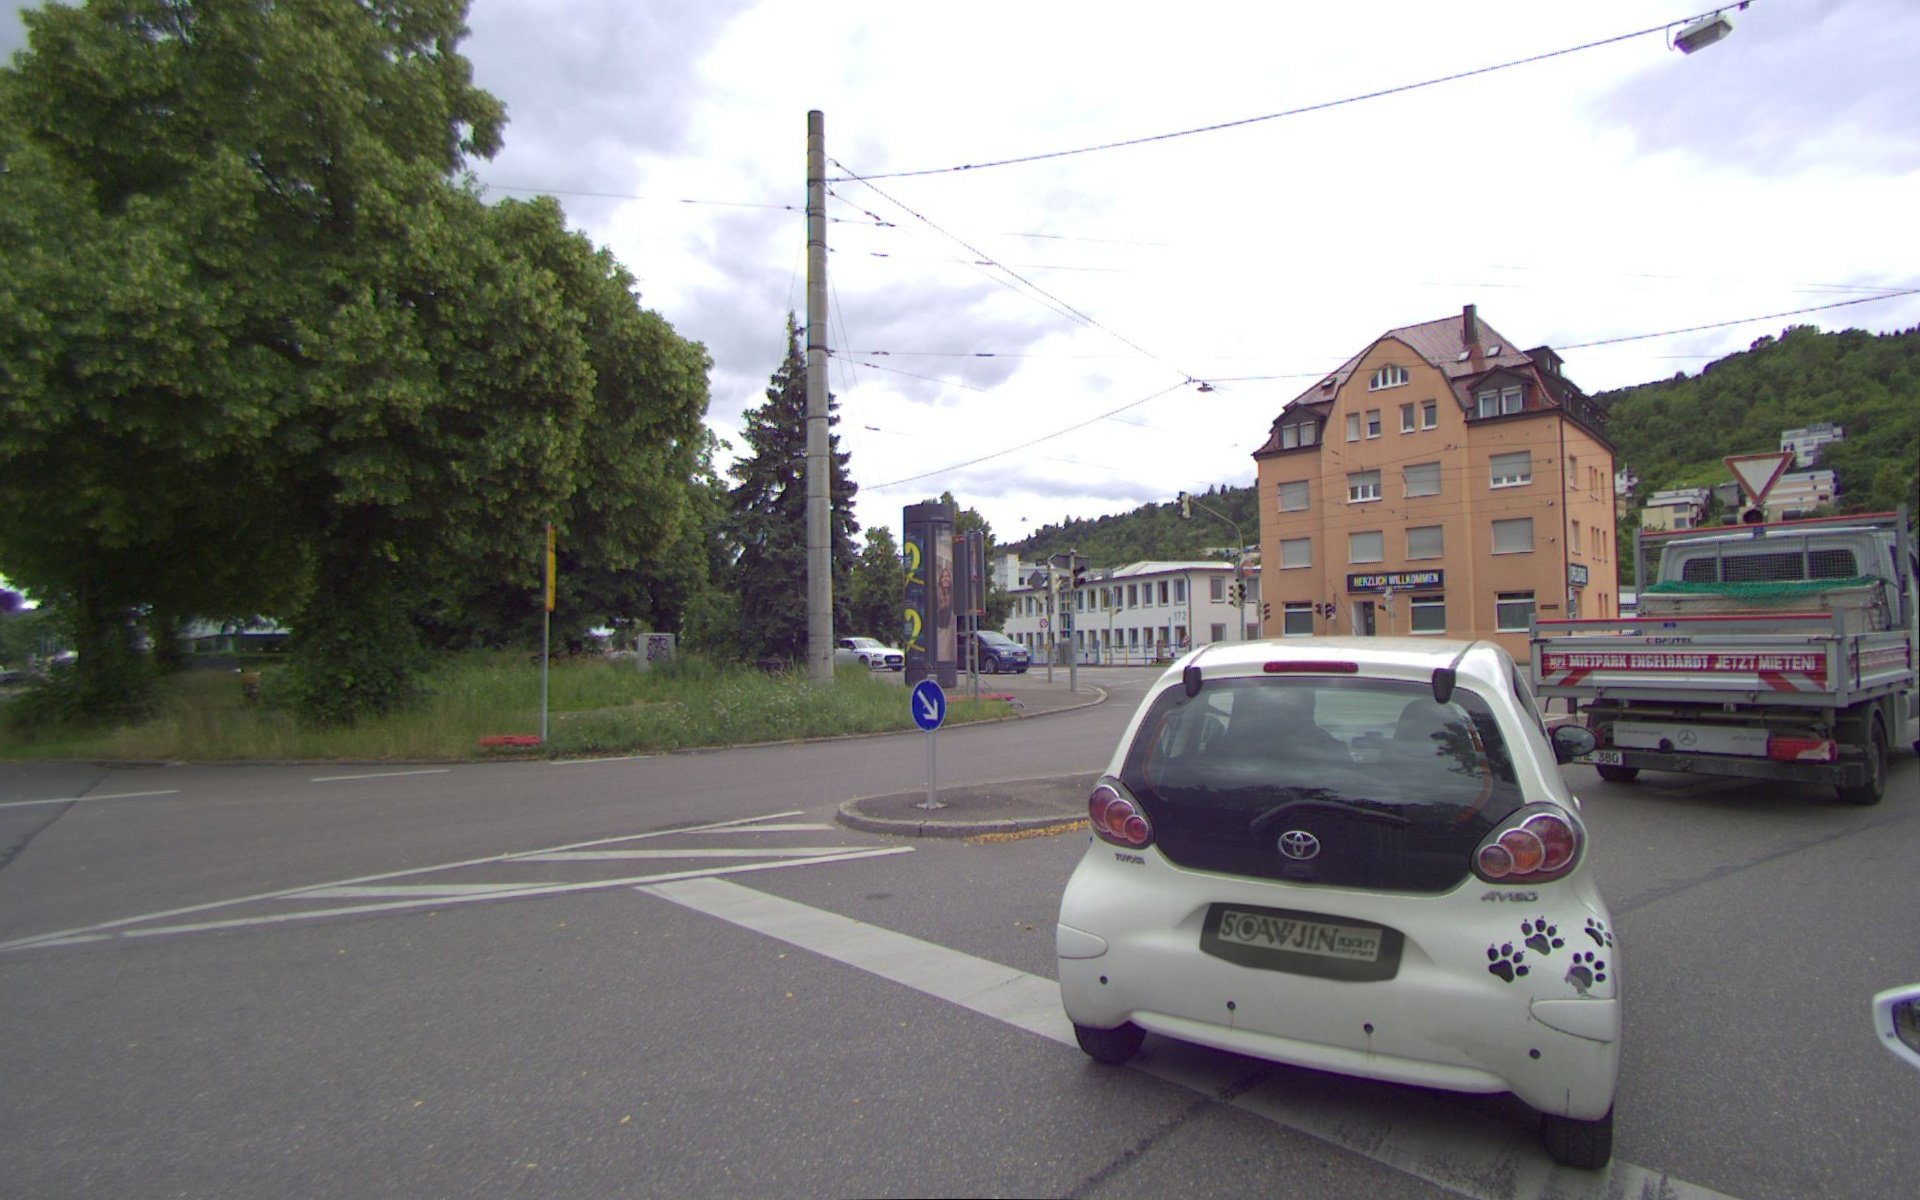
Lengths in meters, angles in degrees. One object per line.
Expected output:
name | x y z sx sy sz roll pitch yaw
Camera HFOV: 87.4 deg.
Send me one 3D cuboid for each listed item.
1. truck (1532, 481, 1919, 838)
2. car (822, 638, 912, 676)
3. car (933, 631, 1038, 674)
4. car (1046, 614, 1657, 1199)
truck | 7.702 0.434 9.694 5.616 2.453 2.291 -1 -2 -44
car | -3.873 2.330 41.226 1.734 1.445 4.120 0 -2 -38
car | 0.878 1.867 35.809 1.736 1.410 3.660 0 -3 -41
car | 1.776 0.814 4.294 1.569 1.439 3.369 2 0 28
